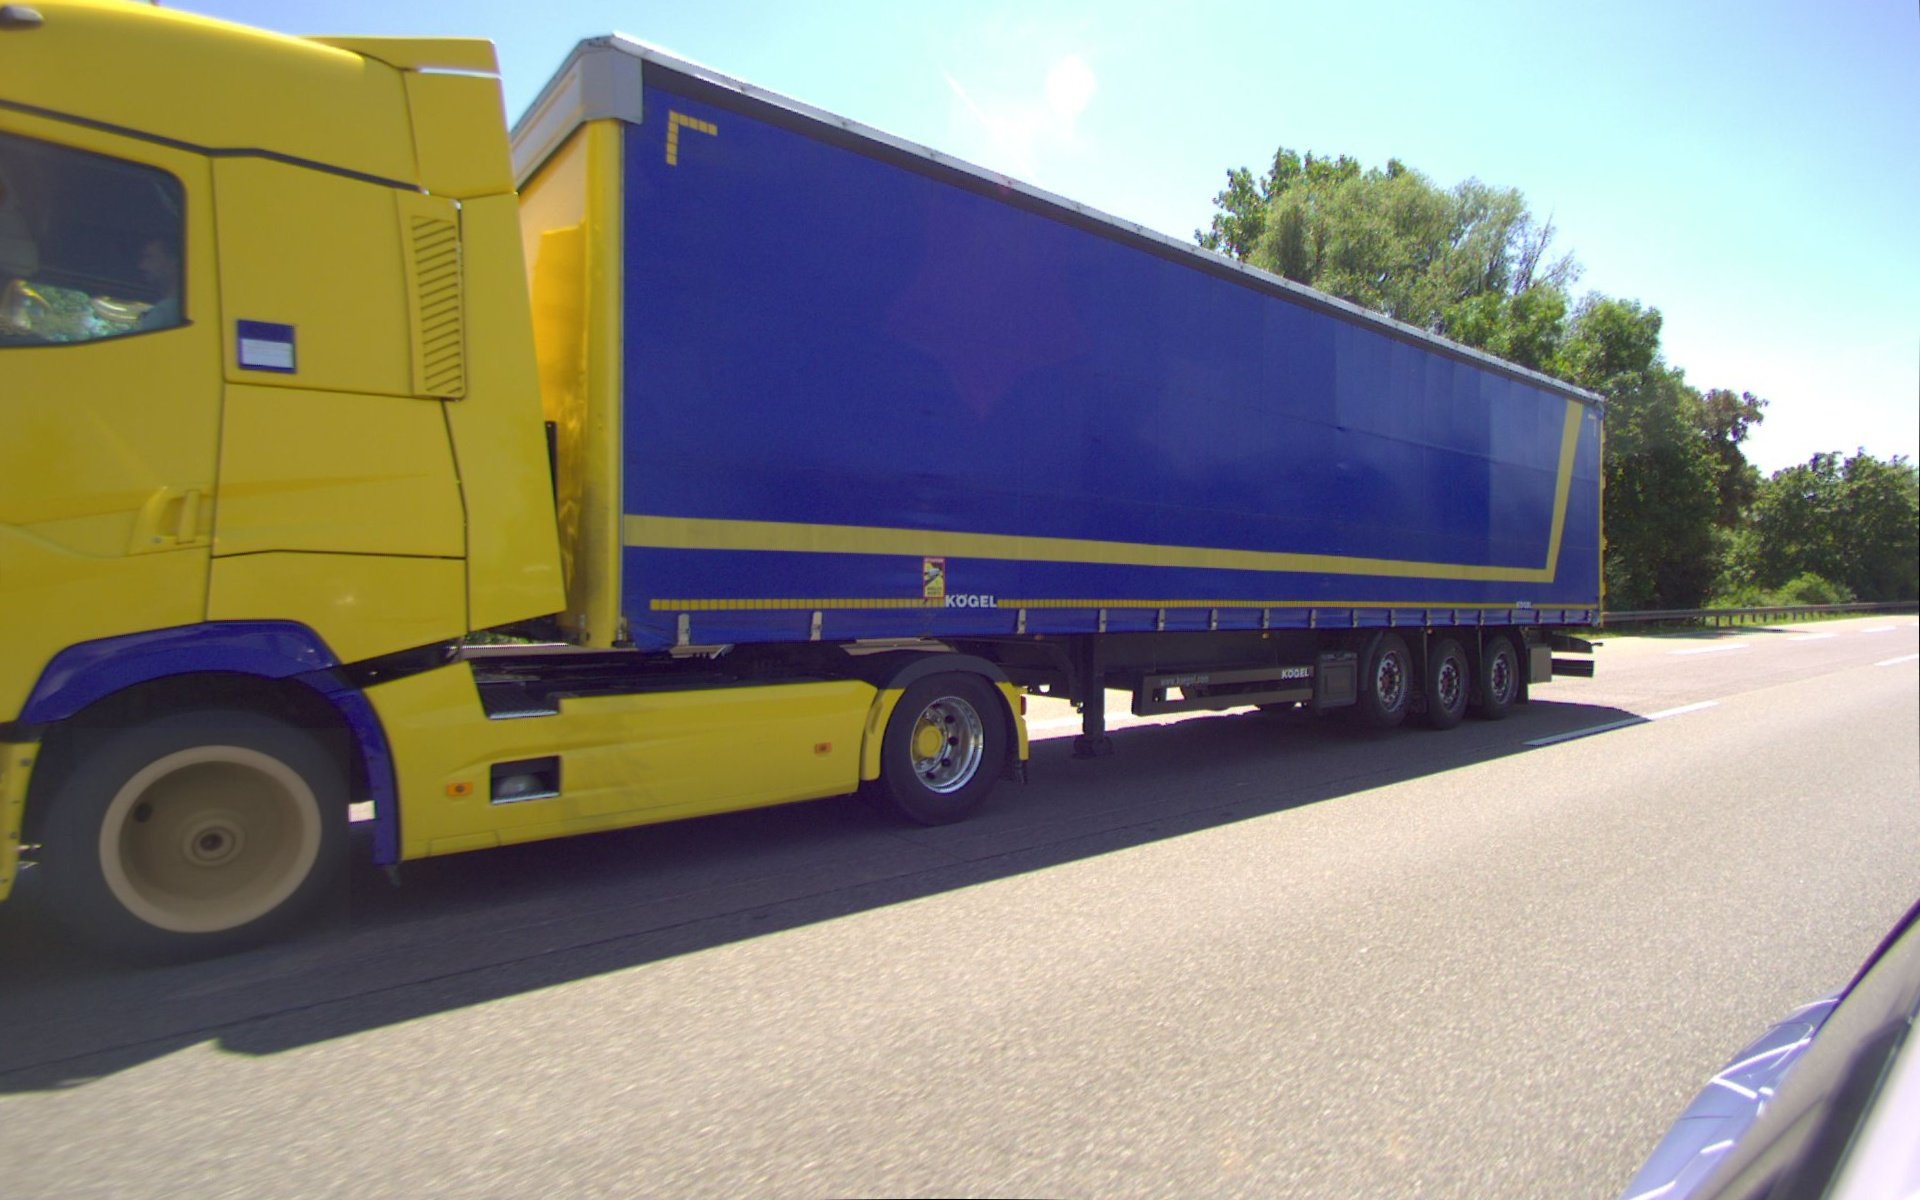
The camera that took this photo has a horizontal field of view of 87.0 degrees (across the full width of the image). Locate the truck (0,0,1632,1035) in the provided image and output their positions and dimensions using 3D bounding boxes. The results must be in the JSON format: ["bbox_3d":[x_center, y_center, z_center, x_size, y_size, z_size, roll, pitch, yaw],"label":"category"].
[{"bbox_3d":[1.707,-0.865,9.353,16.493,4.310,2.851,-1,2,-40],"label":"truck"}]
